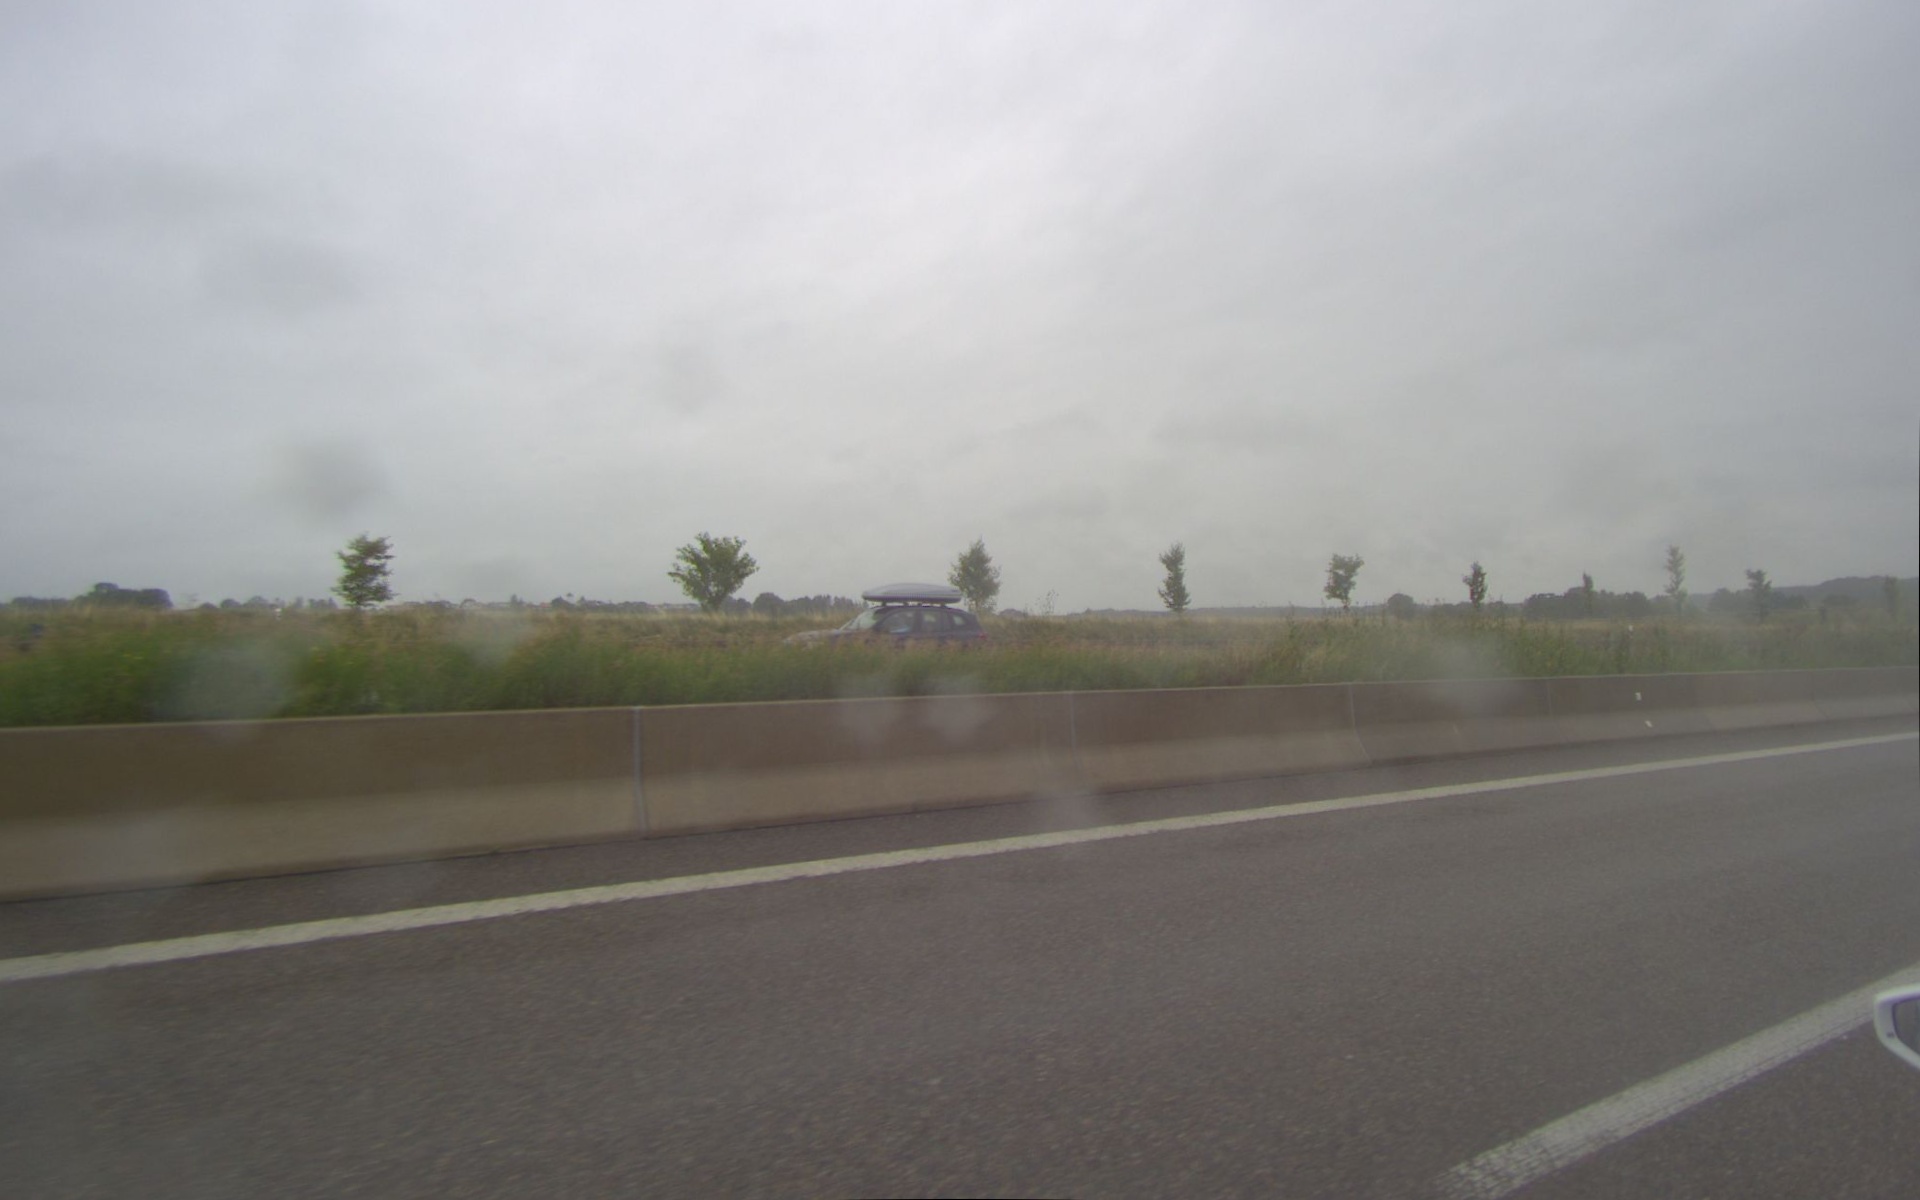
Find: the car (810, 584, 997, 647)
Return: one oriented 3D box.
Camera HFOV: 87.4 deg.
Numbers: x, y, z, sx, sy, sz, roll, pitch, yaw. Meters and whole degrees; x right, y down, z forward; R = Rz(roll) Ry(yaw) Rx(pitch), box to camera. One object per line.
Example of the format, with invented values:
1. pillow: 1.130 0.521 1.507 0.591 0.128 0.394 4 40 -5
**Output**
1. car: -1.206 0.354 21.888 3.753 1.274 1.639 1 -1 -30
